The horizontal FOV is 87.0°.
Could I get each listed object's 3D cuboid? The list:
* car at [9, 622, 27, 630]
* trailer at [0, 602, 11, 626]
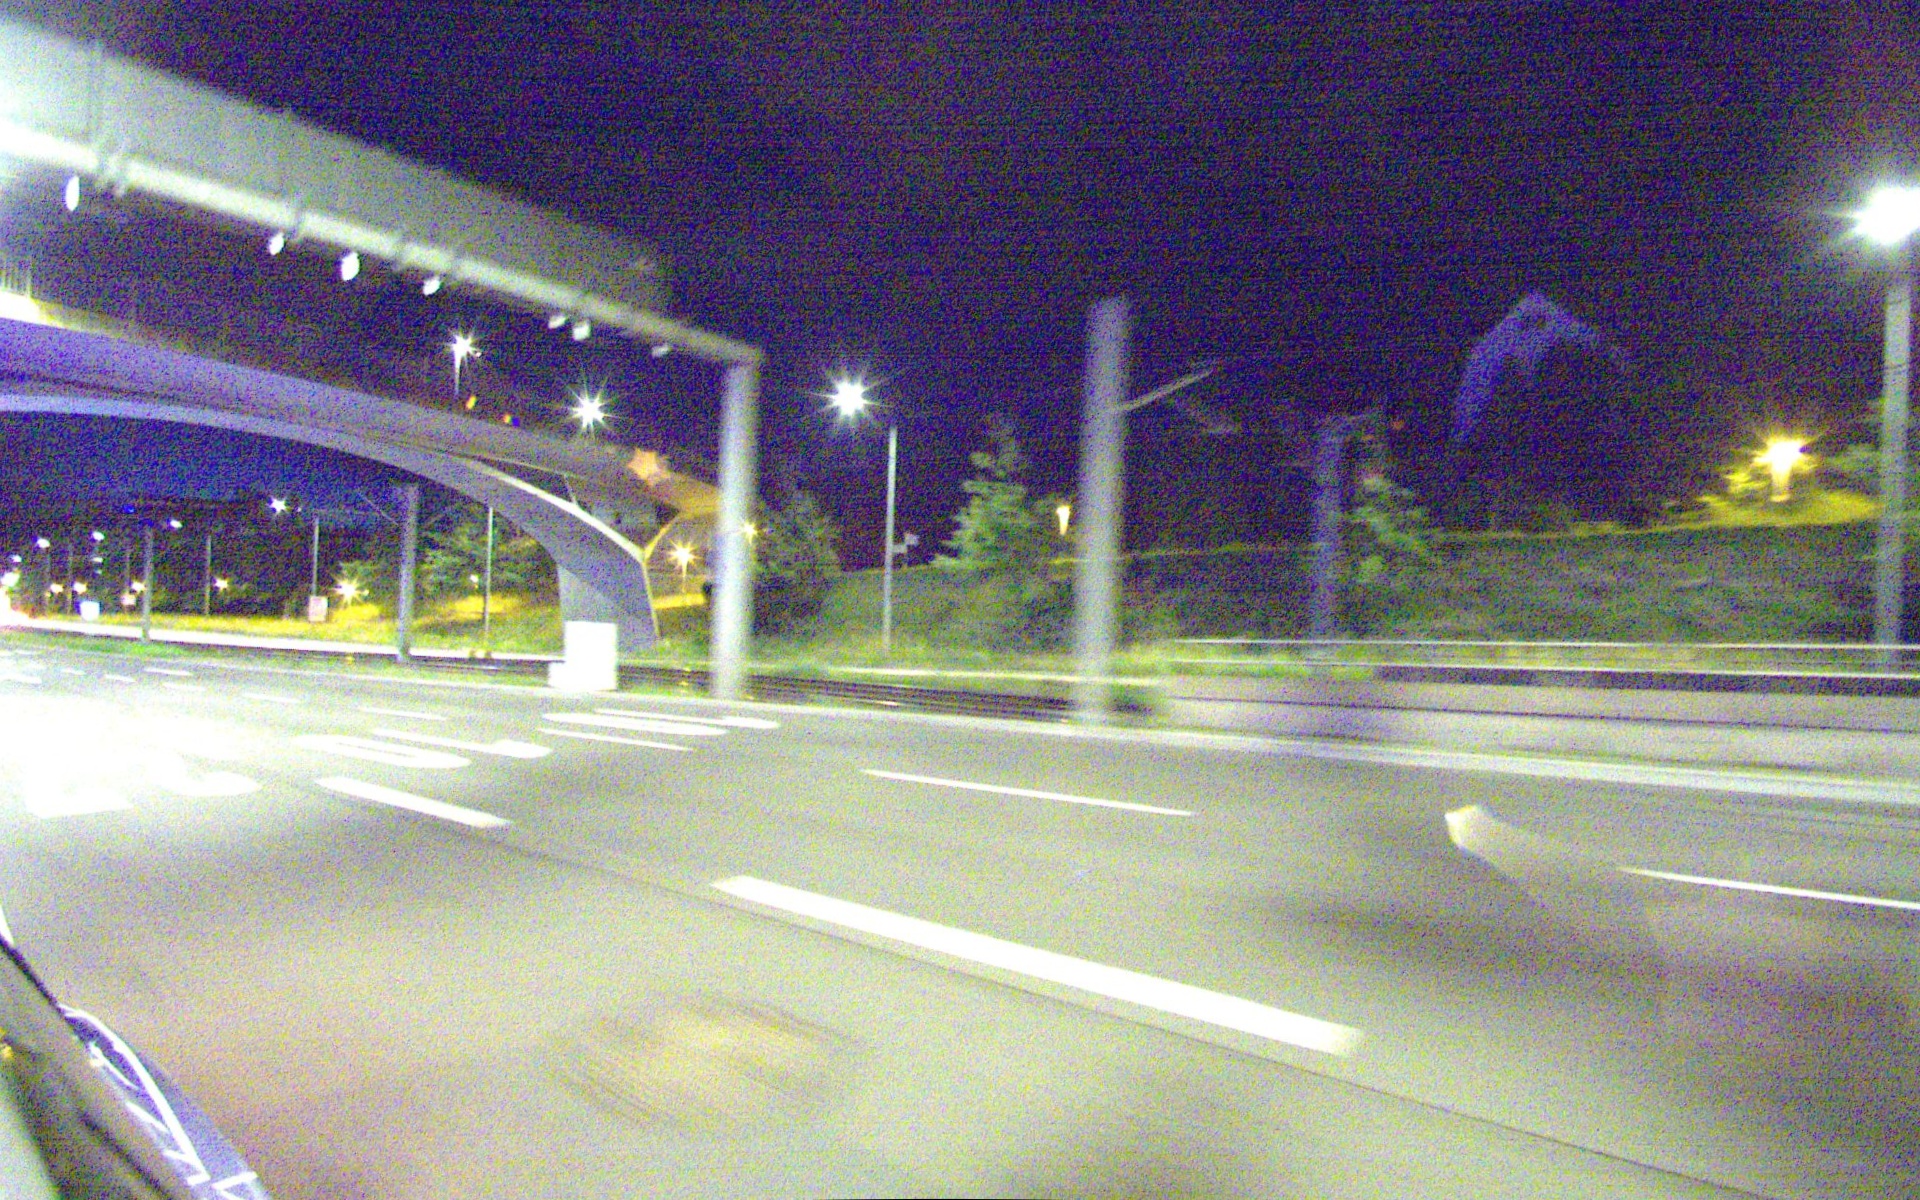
[{"bbox_3d":[-175.727,4.847,188.819,4.201,1.492,1.966,0,-4,40],"label":"car"},{"bbox_3d":[-167.763,2.382,175.172,8.379,4.020,3.663,0,0,36],"label":"trailer"}]
